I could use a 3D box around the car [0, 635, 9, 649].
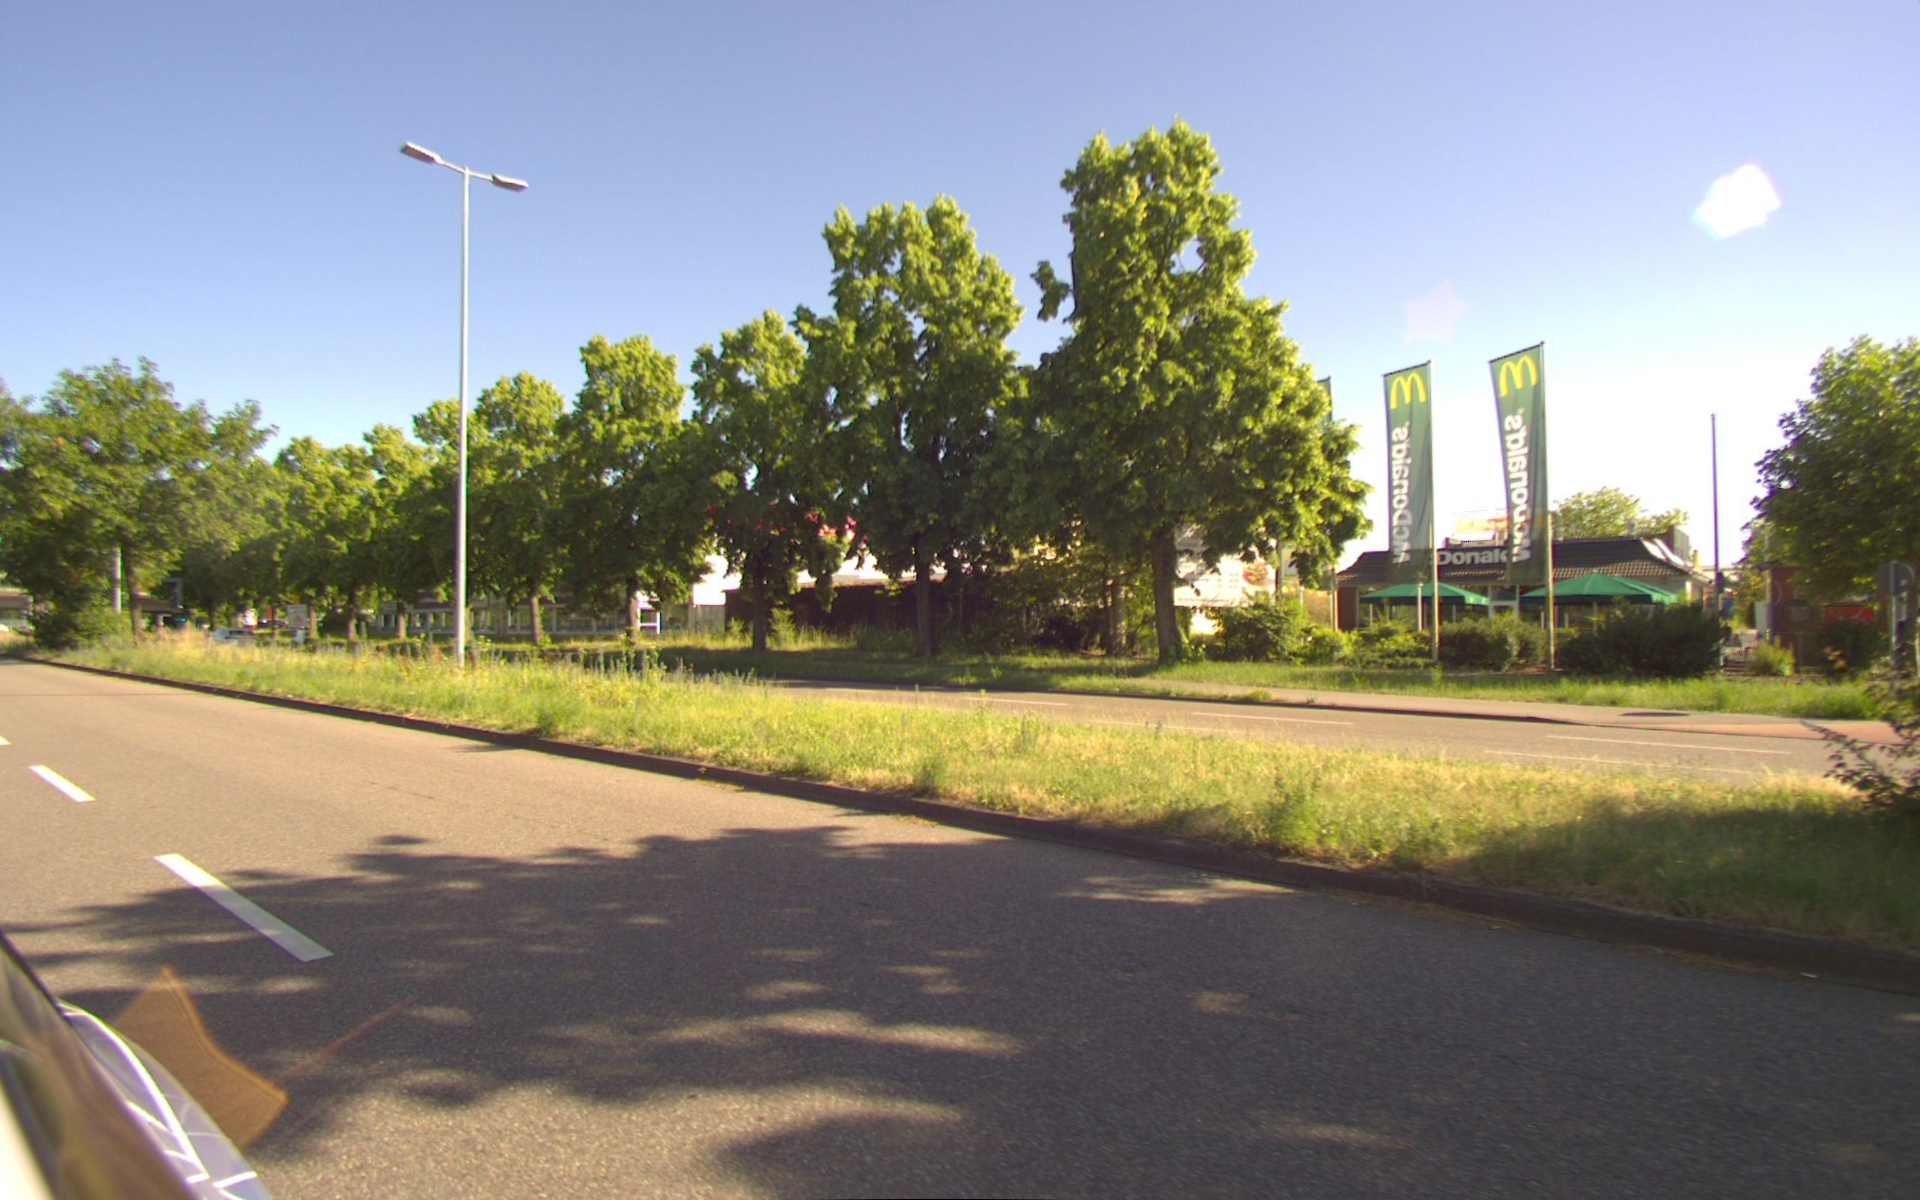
[{"bbox_3d":[-128.319,5.580,135.029,4.163,1.760,1.689,-2,-2,40],"label":"car"}]

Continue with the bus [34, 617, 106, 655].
[{"bbox_3d":[-70.670,2.915,80.267,11.082,2.742,2.692,-2,-5,41],"label":"bus"}]

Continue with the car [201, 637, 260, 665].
[{"bbox_3d":[-41.886,2.920,58.063,4.528,1.532,1.737,-2,-5,42],"label":"car"}]

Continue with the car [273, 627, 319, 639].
[{"bbox_3d":[-76.418,3.786,116.487,1.944,1.399,4.078,-2,-3,38],"label":"car"}]
